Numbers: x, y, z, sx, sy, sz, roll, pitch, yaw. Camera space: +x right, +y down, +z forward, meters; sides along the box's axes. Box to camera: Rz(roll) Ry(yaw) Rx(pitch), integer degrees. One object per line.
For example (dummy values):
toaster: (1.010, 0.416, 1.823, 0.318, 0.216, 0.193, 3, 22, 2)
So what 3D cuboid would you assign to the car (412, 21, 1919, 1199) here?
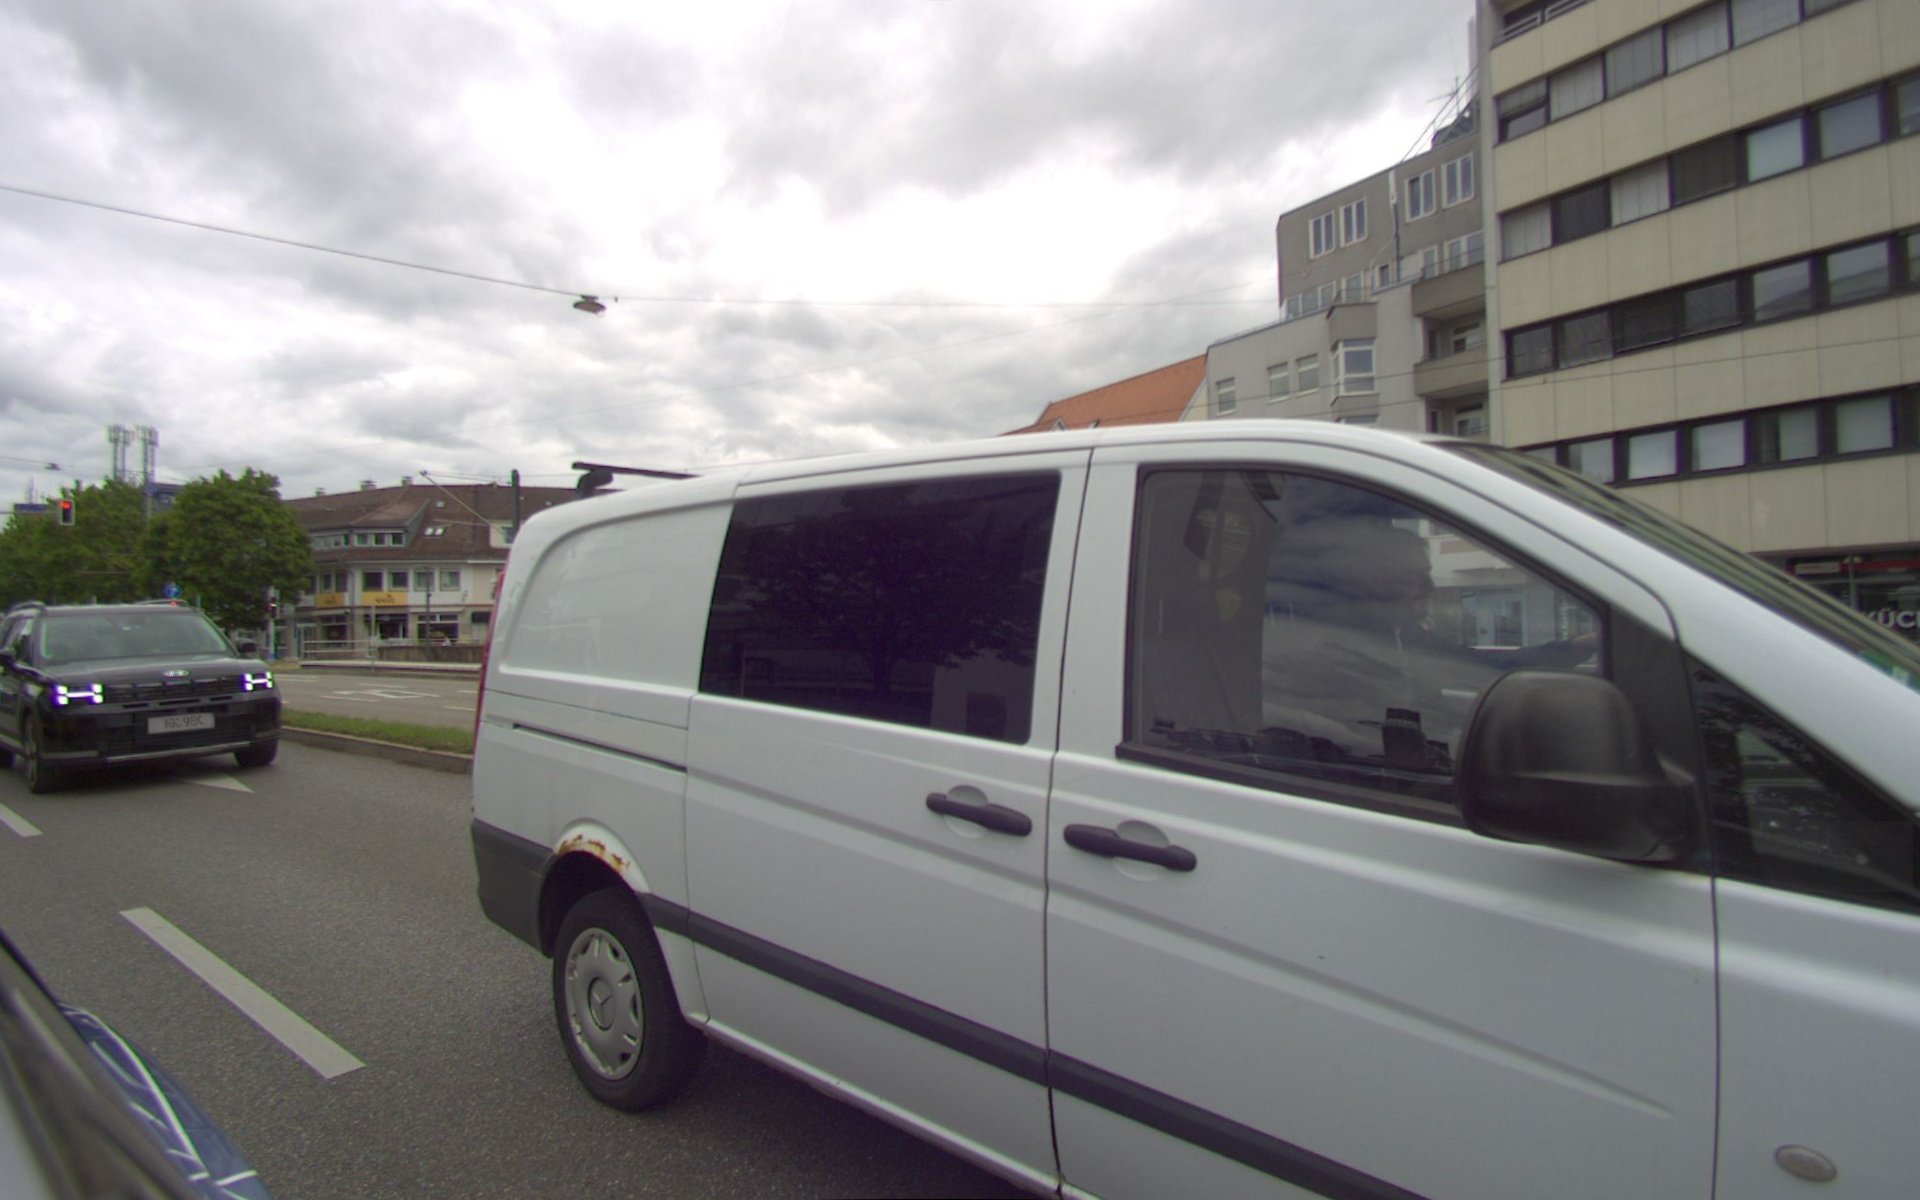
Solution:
car: (0.619, 0.412, 2.674, 5.071, 2.029, 1.855, -3, 0, 40)

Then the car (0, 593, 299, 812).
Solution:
car: (-8.854, 0.914, 10.554, 4.673, 1.764, 1.904, -2, 0, 39)

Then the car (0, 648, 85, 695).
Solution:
car: (-33.075, 2.498, 35.887, 4.633, 1.524, 1.977, -2, -3, 35)
